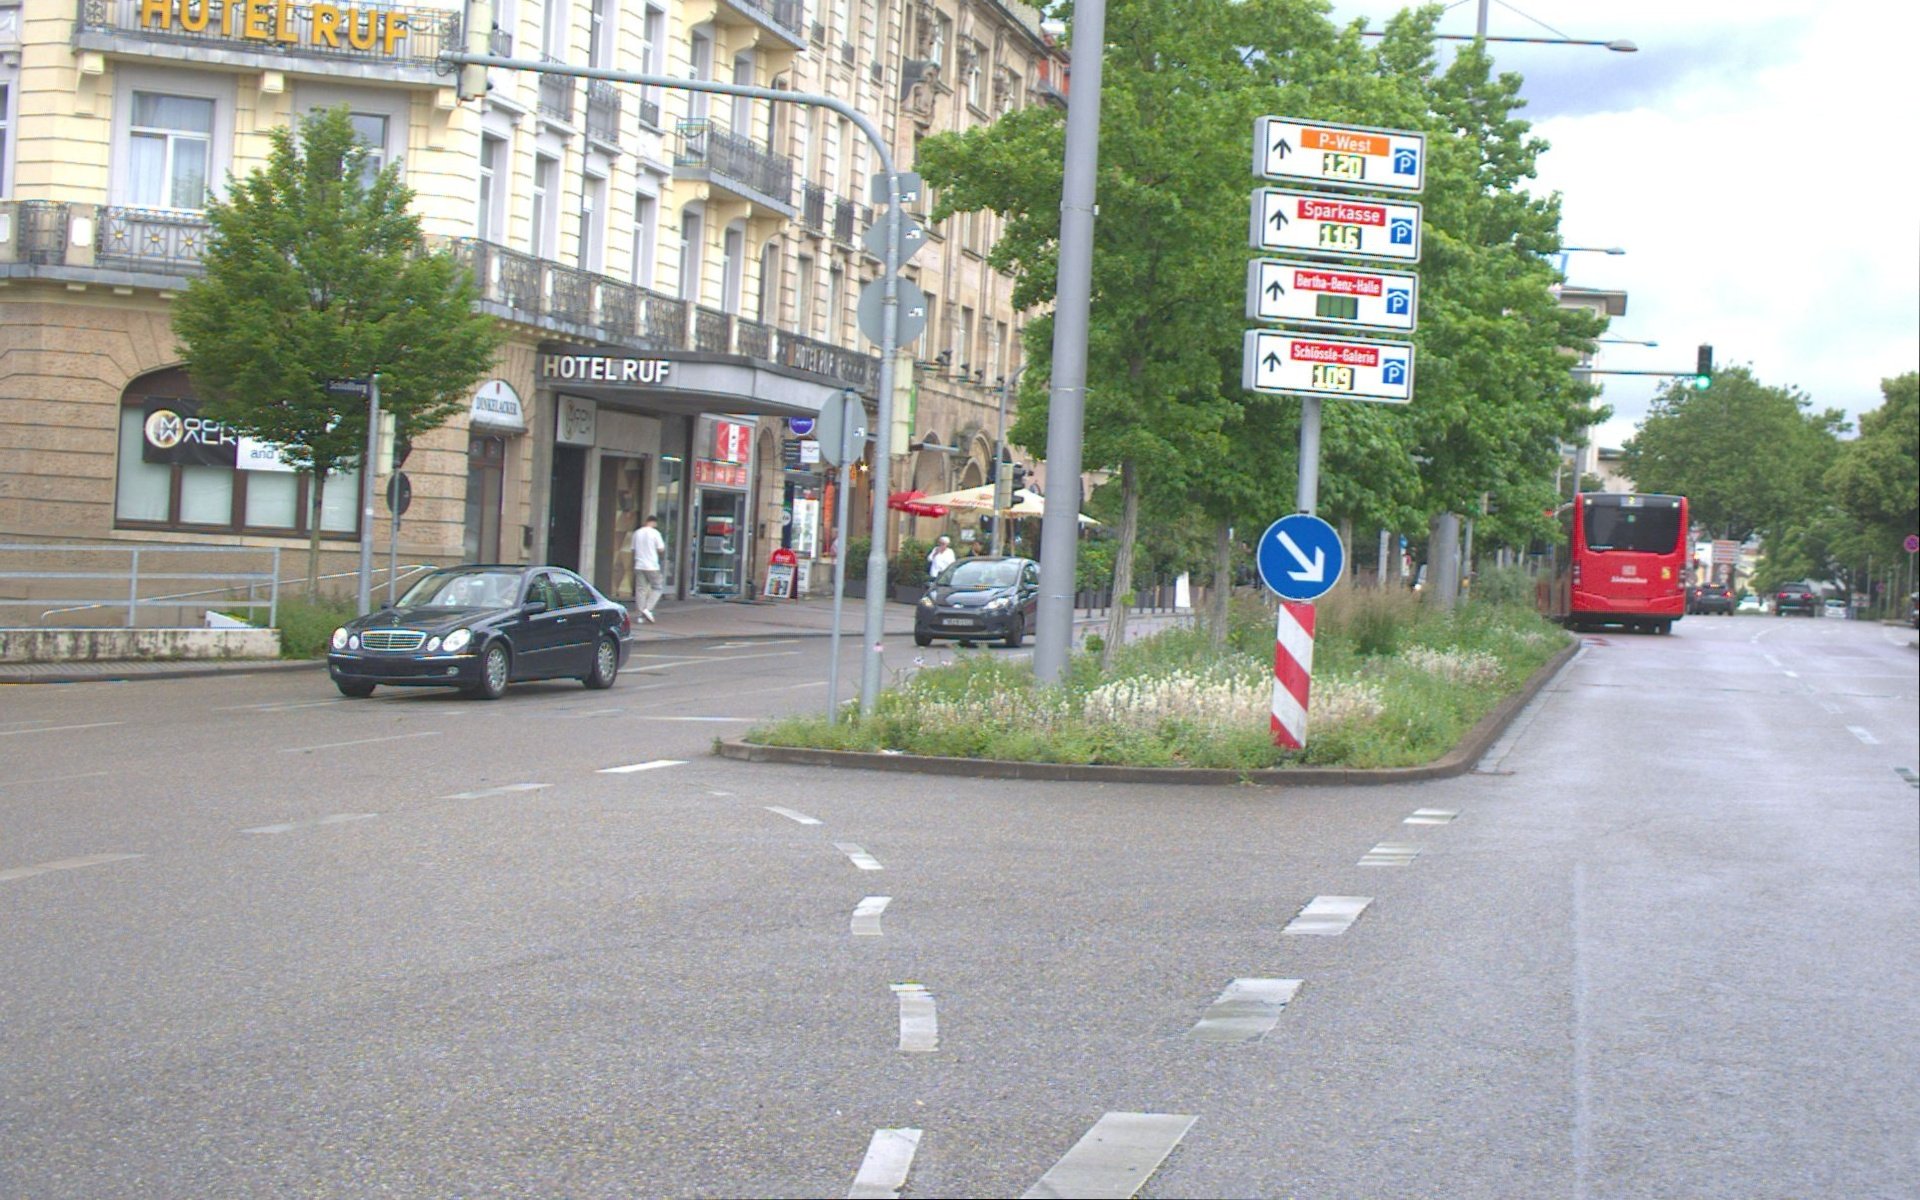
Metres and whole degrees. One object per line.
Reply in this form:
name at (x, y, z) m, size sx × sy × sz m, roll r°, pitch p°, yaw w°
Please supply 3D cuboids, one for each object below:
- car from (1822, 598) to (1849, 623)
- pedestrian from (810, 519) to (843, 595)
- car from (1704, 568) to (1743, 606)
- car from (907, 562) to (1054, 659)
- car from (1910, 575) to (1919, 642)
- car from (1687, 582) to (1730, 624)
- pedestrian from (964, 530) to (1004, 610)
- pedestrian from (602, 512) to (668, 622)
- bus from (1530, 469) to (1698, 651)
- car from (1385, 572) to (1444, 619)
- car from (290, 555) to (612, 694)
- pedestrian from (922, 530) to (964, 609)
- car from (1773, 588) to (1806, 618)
car at (59.743, 0.704, 234.640) m, size 1.645 × 1.656 × 3.648 m, roll 1°, pitch 0°, yaw 12°
pedestrian at (-2.952, -0.945, 75.943) m, size 0.666 × 1.658 × 0.536 m, roll 1°, pitch 0°, yaw 4°
car at (40.638, -0.690, 182.967) m, size 1.994 × 2.007 × 3.998 m, roll 1°, pitch 0°, yaw 12°
car at (0.371, 0.156, 56.042) m, size 1.678 × 1.507 × 3.861 m, roll 1°, pitch 0°, yaw 11°
car at (23.441, 0.239, 81.201) m, size 1.860 × 1.564 × 3.997 m, roll 2°, pitch 0°, yaw 16°
car at (36.577, 0.160, 168.027) m, size 1.994 × 2.007 × 3.998 m, roll 1°, pitch 0°, yaw 12°
pedestrian at (0.501, -0.625, 71.922) m, size 0.682 × 1.658 × 0.806 m, roll 1°, pitch 0°, yaw 12°
pedestrian at (-5.399, -0.547, 57.164) m, size 0.880 × 1.806 × 0.750 m, roll 1°, pitch 0°, yaw 12°
bus at (15.300, -0.897, 81.208) m, size 3.546 × 3.966 × 11.167 m, roll 1°, pitch 0°, yaw 9°
car at (19.883, -0.196, 150.287) m, size 1.995 × 2.007 × 4.998 m, roll 1°, pitch 0°, yaw 14°
car at (-5.500, 0.251, 37.648) m, size 1.957 × 1.418 × 3.997 m, roll 1°, pitch 0°, yaw 17°
pedestrian at (-0.348, -0.637, 72.094) m, size 0.682 × 1.658 × 0.806 m, roll 1°, pitch 0°, yaw 15°
car at (44.005, 0.163, 182.385) m, size 1.596 × 1.555 × 3.648 m, roll 1°, pitch 0°, yaw 12°
